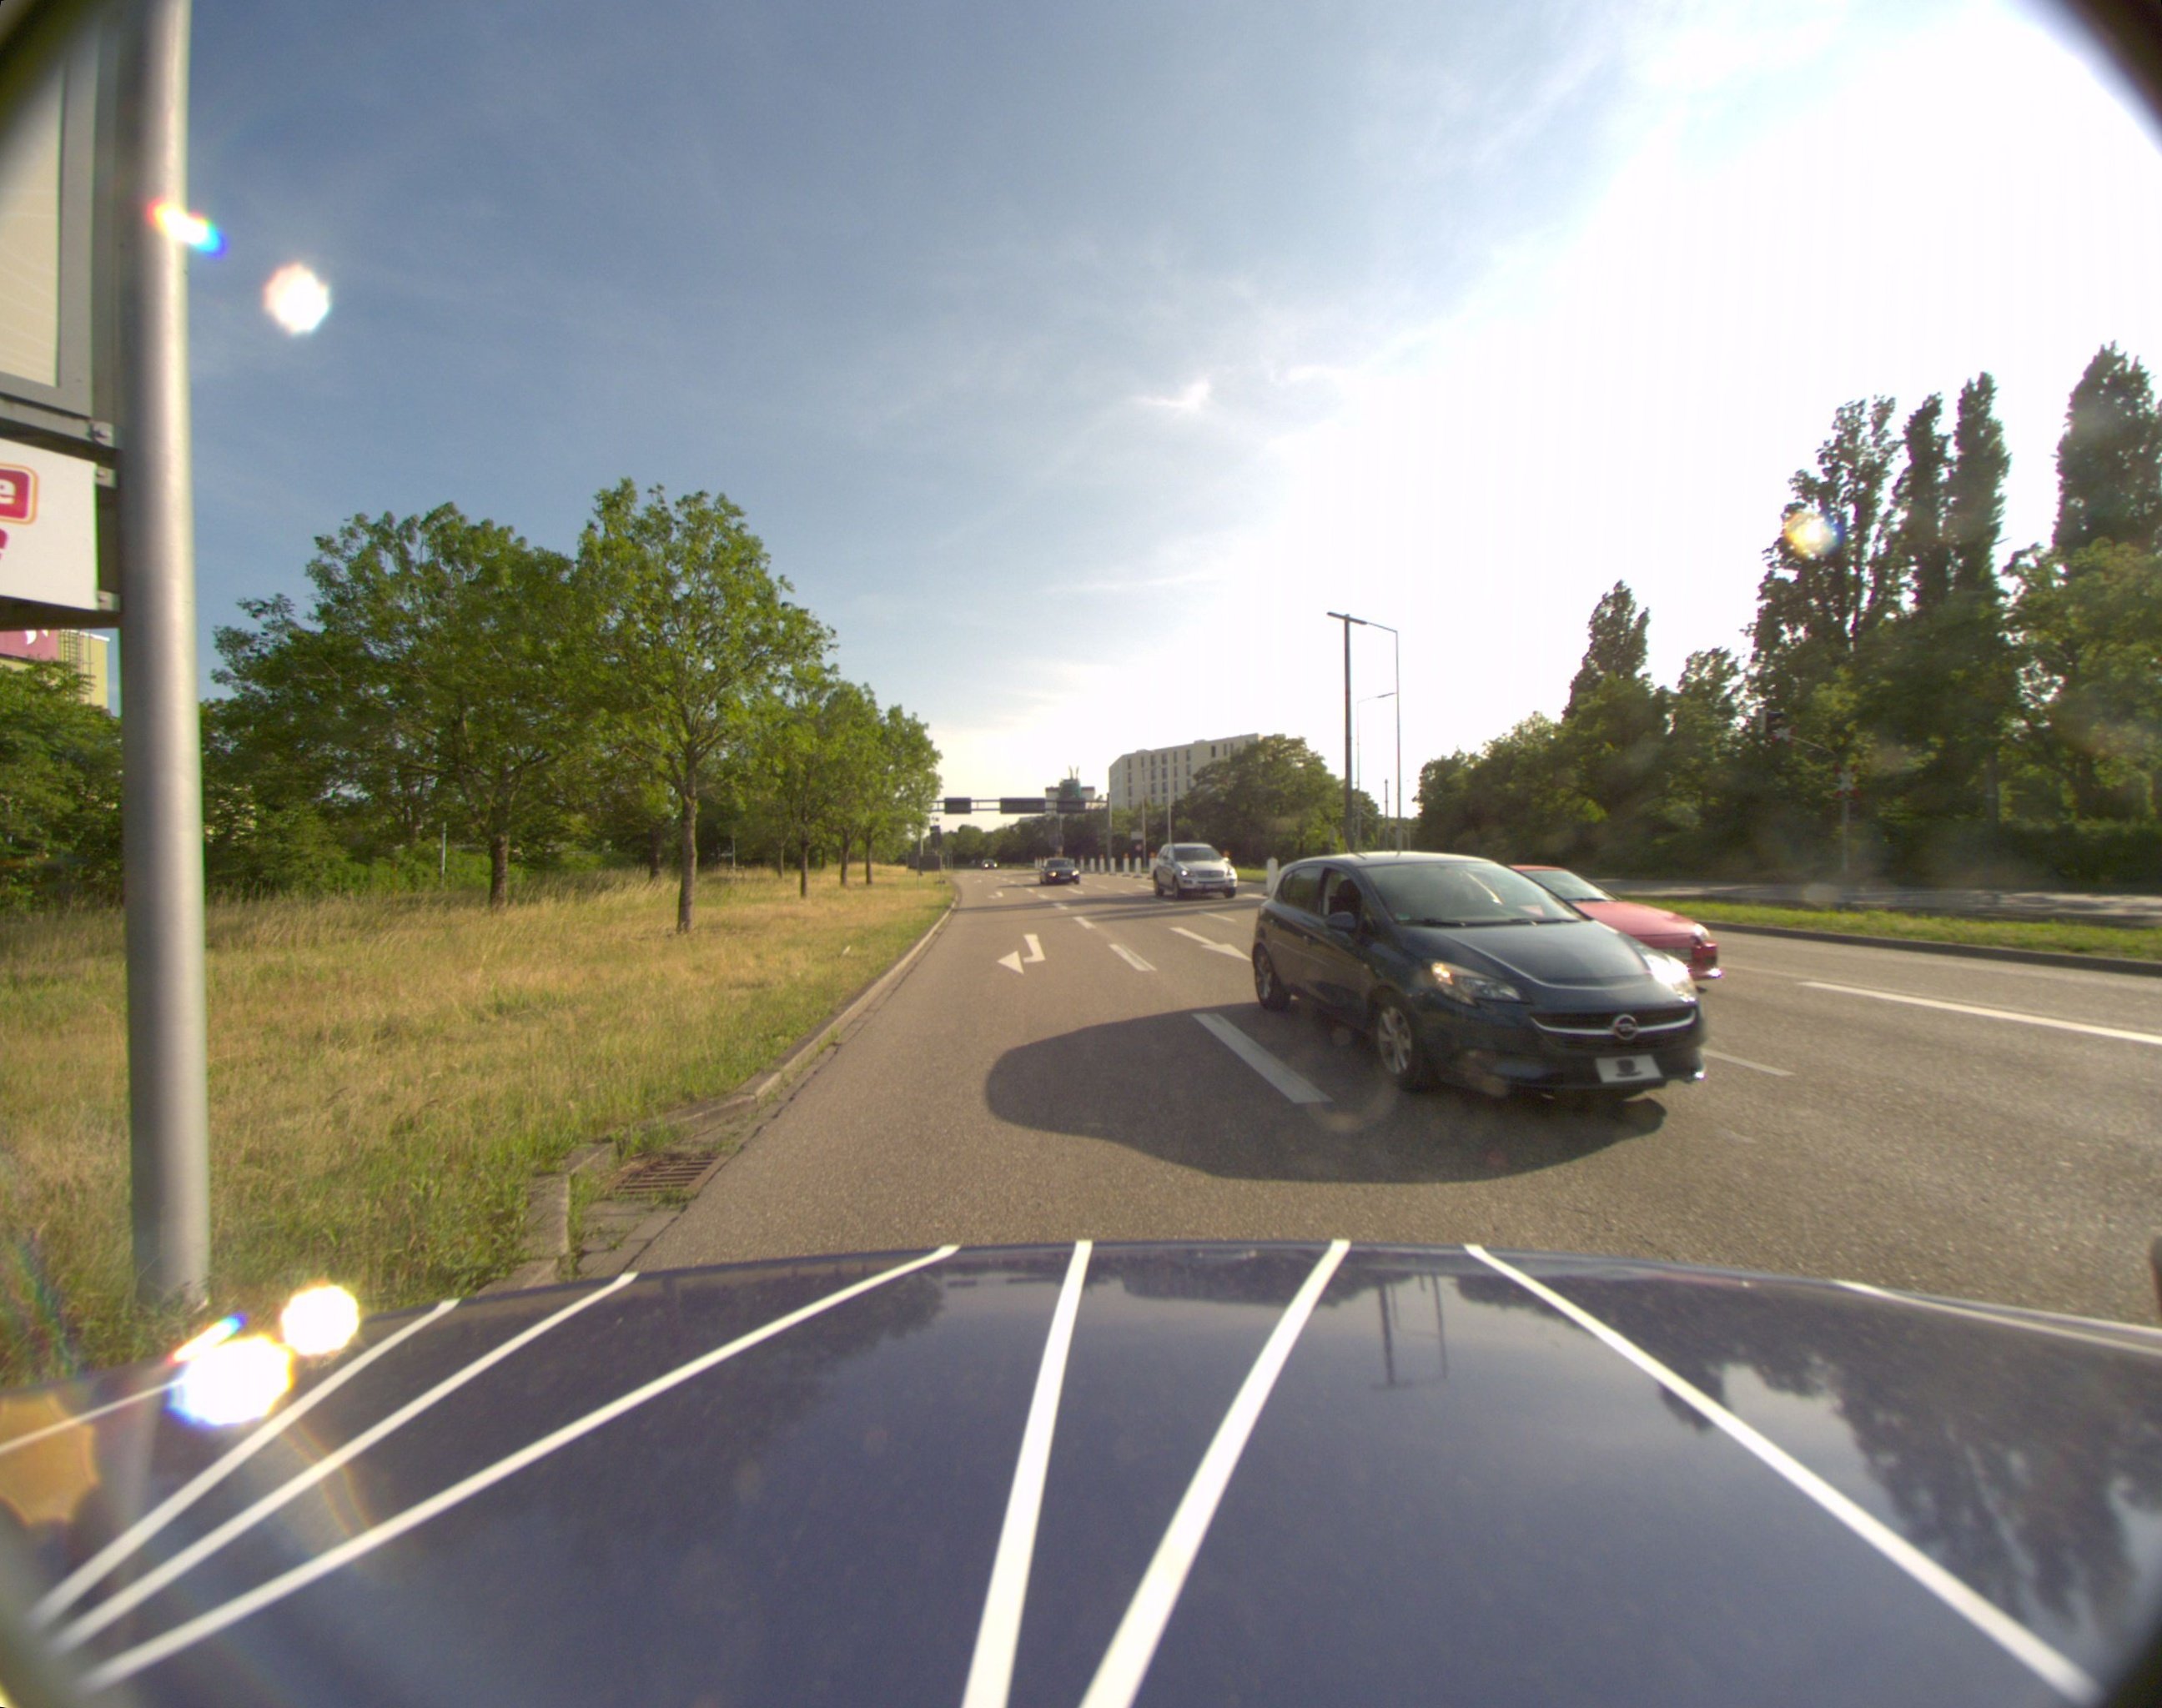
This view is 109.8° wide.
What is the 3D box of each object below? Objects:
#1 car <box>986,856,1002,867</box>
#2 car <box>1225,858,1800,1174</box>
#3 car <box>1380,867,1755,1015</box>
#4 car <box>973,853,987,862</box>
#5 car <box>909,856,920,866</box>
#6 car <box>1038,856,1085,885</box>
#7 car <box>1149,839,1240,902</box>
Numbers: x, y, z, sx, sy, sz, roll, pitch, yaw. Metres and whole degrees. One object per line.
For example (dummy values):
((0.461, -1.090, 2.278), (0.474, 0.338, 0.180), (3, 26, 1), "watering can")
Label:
((-12.334, 1.047, 107.587), (1.896, 1.447, 3.905), (-1, 1, -10), "car")
((2.591, 0.804, 5.896), (1.747, 1.496, 4.220), (-1, 0, -6), "car")
((5.288, 0.841, 8.972), (1.736, 1.199, 3.845), (-3, 0, -4), "car")
((-24.003, 0.792, 179.627), (2.002, 2.002, 5.348), (-1, 0, -22), "car")
((-37.343, 1.579, 170.007), (1.863, 2.002, 4.170), (-3, 1, -19), "car")
((-1.104, 0.838, 40.979), (1.902, 1.377, 4.352), (-3, 0, -9), "car")
((3.651, 0.506, 25.353), (1.902, 1.813, 4.353), (-3, 0, -6), "car")
